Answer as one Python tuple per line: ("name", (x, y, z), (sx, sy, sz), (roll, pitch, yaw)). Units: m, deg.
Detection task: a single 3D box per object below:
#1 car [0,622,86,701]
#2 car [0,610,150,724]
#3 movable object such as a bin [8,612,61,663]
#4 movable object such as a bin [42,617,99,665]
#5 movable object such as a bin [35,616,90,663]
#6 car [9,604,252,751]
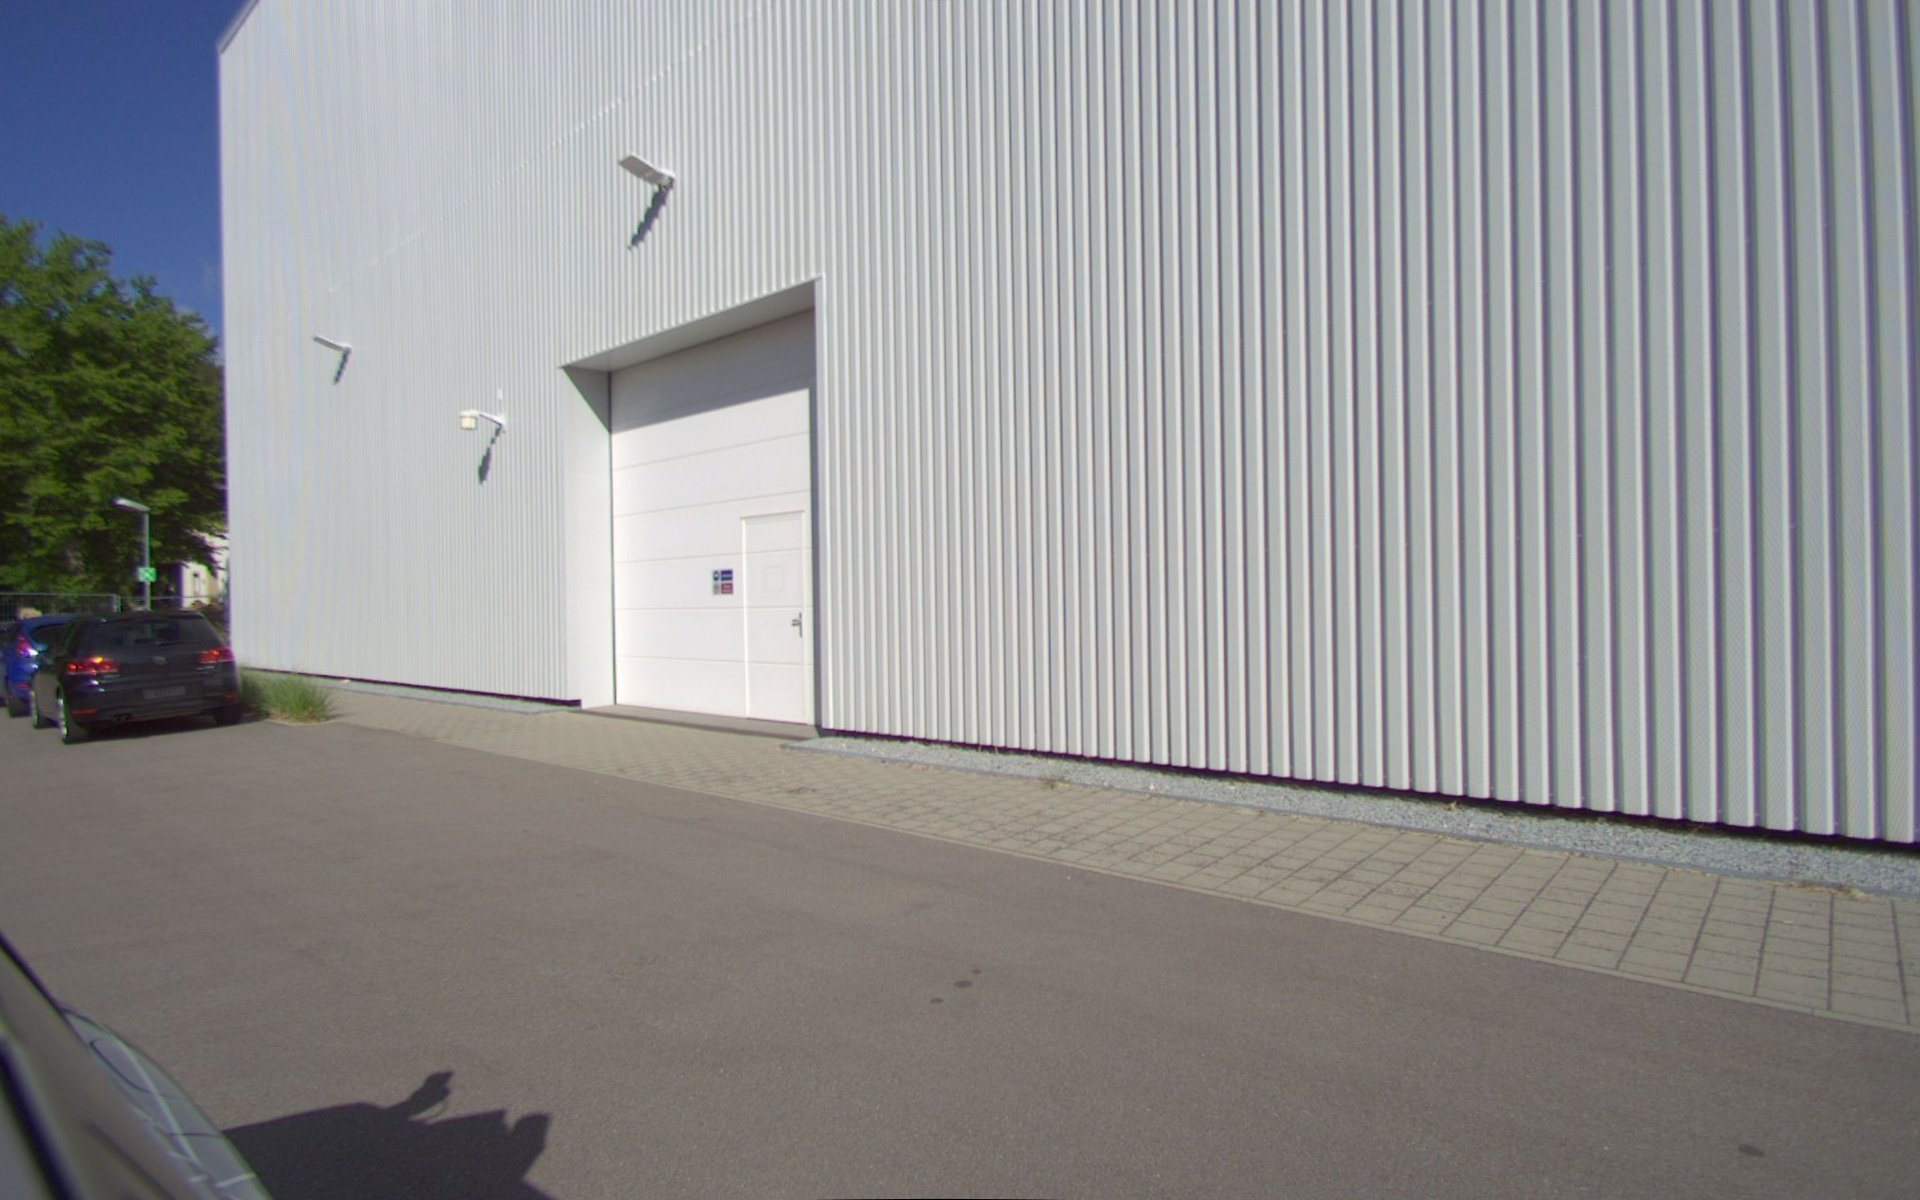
("car", (-18.631, 1.154, 19.784), (4.051, 1.371, 1.756), (-1, 0, 41))
("car", (-14.496, 0.989, 16.186), (4.092, 1.511, 1.614), (-1, 2, 41))
("movable object such as a bin", (-31.060, 1.243, 33.971), (1.228, 1.609, 1.080), (1, 1, 36))
("movable object such as a bin", (-28.304, 1.284, 32.220), (1.228, 1.443, 1.080), (0, 2, 36))
("movable object such as a bin", (-29.330, 1.271, 33.072), (1.228, 1.450, 1.080), (0, 2, 36))
("car", (-10.745, 0.876, 13.001), (4.292, 1.511, 1.736), (-1, 1, 42))
